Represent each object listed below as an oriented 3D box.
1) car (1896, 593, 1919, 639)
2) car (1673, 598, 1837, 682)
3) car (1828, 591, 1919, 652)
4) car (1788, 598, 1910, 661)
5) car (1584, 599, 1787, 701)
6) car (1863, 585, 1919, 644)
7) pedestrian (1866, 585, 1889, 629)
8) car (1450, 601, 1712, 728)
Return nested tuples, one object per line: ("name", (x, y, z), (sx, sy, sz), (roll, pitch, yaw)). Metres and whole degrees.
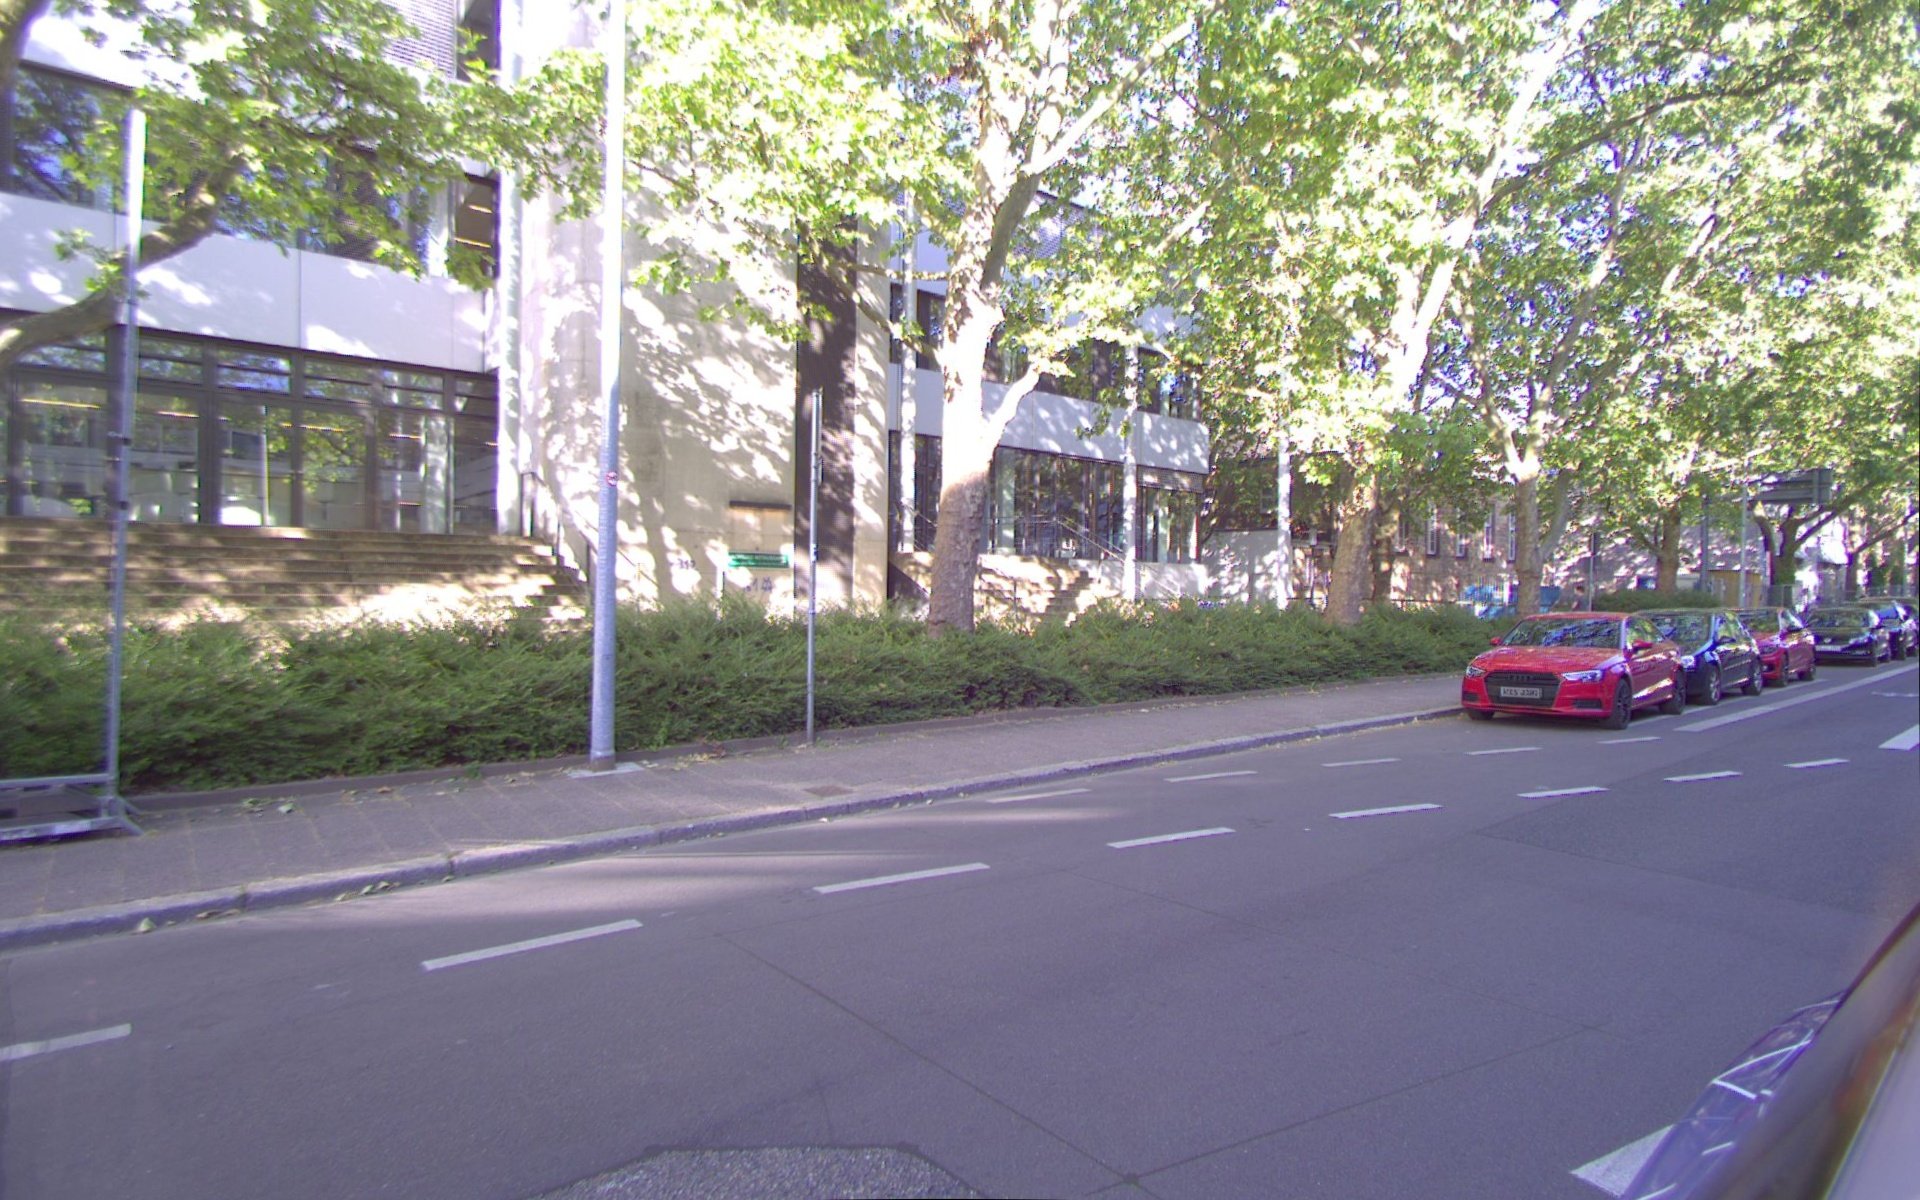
("car", (35.915, 0.578, 37.106), (4.183, 1.634, 1.834), (0, 0, -40))
("car", (15.845, 0.707, 20.106), (4.095, 1.486, 1.834), (0, 0, -41))
("car", (26.567, 0.570, 29.091), (4.088, 1.626, 1.834), (0, 0, -40))
("car", (22.878, 0.700, 25.997), (4.095, 1.486, 1.834), (0, 0, -41))
("car", (12.030, 0.718, 16.691), (4.095, 1.464, 1.834), (0, 0, -41))
("car", (31.052, 0.436, 32.981), (4.383, 1.820, 1.834), (0, 0, -40))
("pedestrian", (39.583, 0.293, 43.663), (0.629, 1.884, 0.660), (0, 0, -41))
("car", (8.410, 0.736, 13.575), (4.173, 1.422, 1.834), (0, 0, -41))
